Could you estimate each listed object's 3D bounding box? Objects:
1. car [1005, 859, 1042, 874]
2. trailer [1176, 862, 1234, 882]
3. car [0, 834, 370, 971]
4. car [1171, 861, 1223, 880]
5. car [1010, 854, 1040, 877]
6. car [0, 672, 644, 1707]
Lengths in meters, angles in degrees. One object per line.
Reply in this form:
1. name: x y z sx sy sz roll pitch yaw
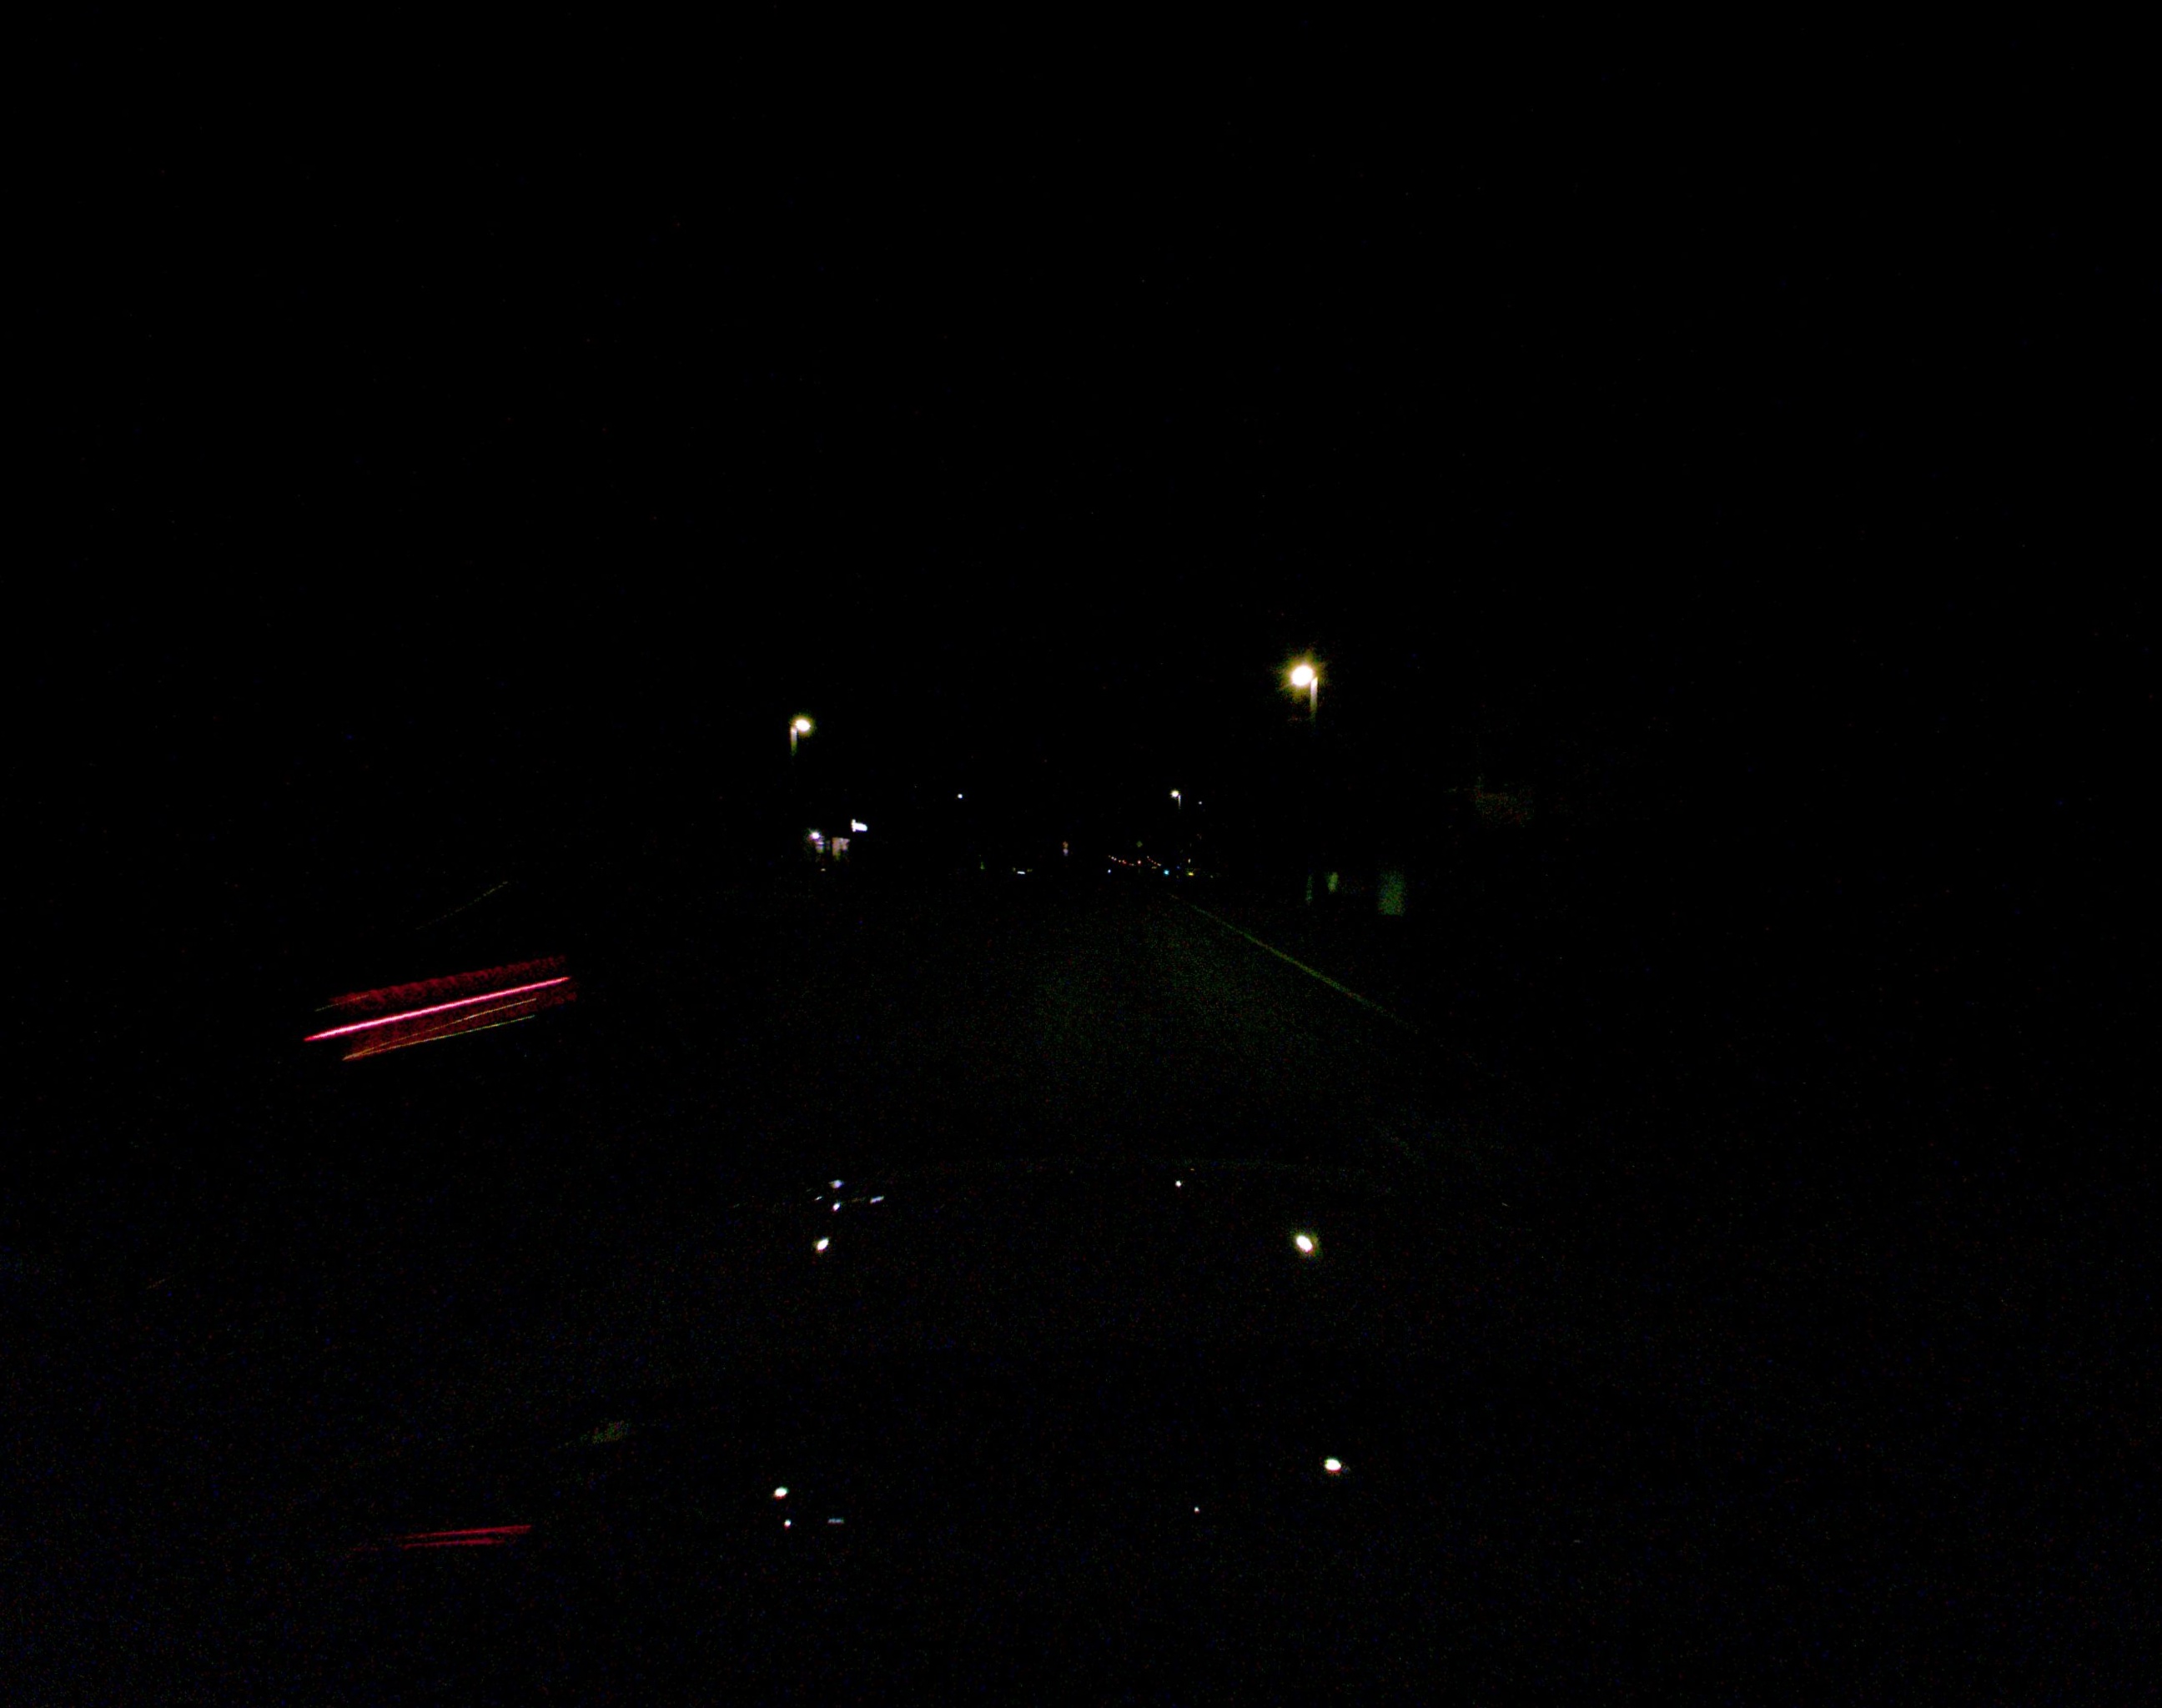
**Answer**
1. car: -6.369 1.360 90.616 3.682 1.627 1.791 0 -2 20
2. trailer: 7.961 1.152 52.510 3.420 1.002 1.954 3 0 1
3. car: -13.274 0.654 11.815 3.982 1.703 1.944 -2 0 -6
4. car: 8.007 1.125 56.509 3.381 1.232 1.724 0 0 -1
5. car: -4.127 0.862 60.154 1.665 1.591 3.990 1 -1 4
6. car: -2.604 0.602 0.543 1.995 1.748 4.561 0 0 2
